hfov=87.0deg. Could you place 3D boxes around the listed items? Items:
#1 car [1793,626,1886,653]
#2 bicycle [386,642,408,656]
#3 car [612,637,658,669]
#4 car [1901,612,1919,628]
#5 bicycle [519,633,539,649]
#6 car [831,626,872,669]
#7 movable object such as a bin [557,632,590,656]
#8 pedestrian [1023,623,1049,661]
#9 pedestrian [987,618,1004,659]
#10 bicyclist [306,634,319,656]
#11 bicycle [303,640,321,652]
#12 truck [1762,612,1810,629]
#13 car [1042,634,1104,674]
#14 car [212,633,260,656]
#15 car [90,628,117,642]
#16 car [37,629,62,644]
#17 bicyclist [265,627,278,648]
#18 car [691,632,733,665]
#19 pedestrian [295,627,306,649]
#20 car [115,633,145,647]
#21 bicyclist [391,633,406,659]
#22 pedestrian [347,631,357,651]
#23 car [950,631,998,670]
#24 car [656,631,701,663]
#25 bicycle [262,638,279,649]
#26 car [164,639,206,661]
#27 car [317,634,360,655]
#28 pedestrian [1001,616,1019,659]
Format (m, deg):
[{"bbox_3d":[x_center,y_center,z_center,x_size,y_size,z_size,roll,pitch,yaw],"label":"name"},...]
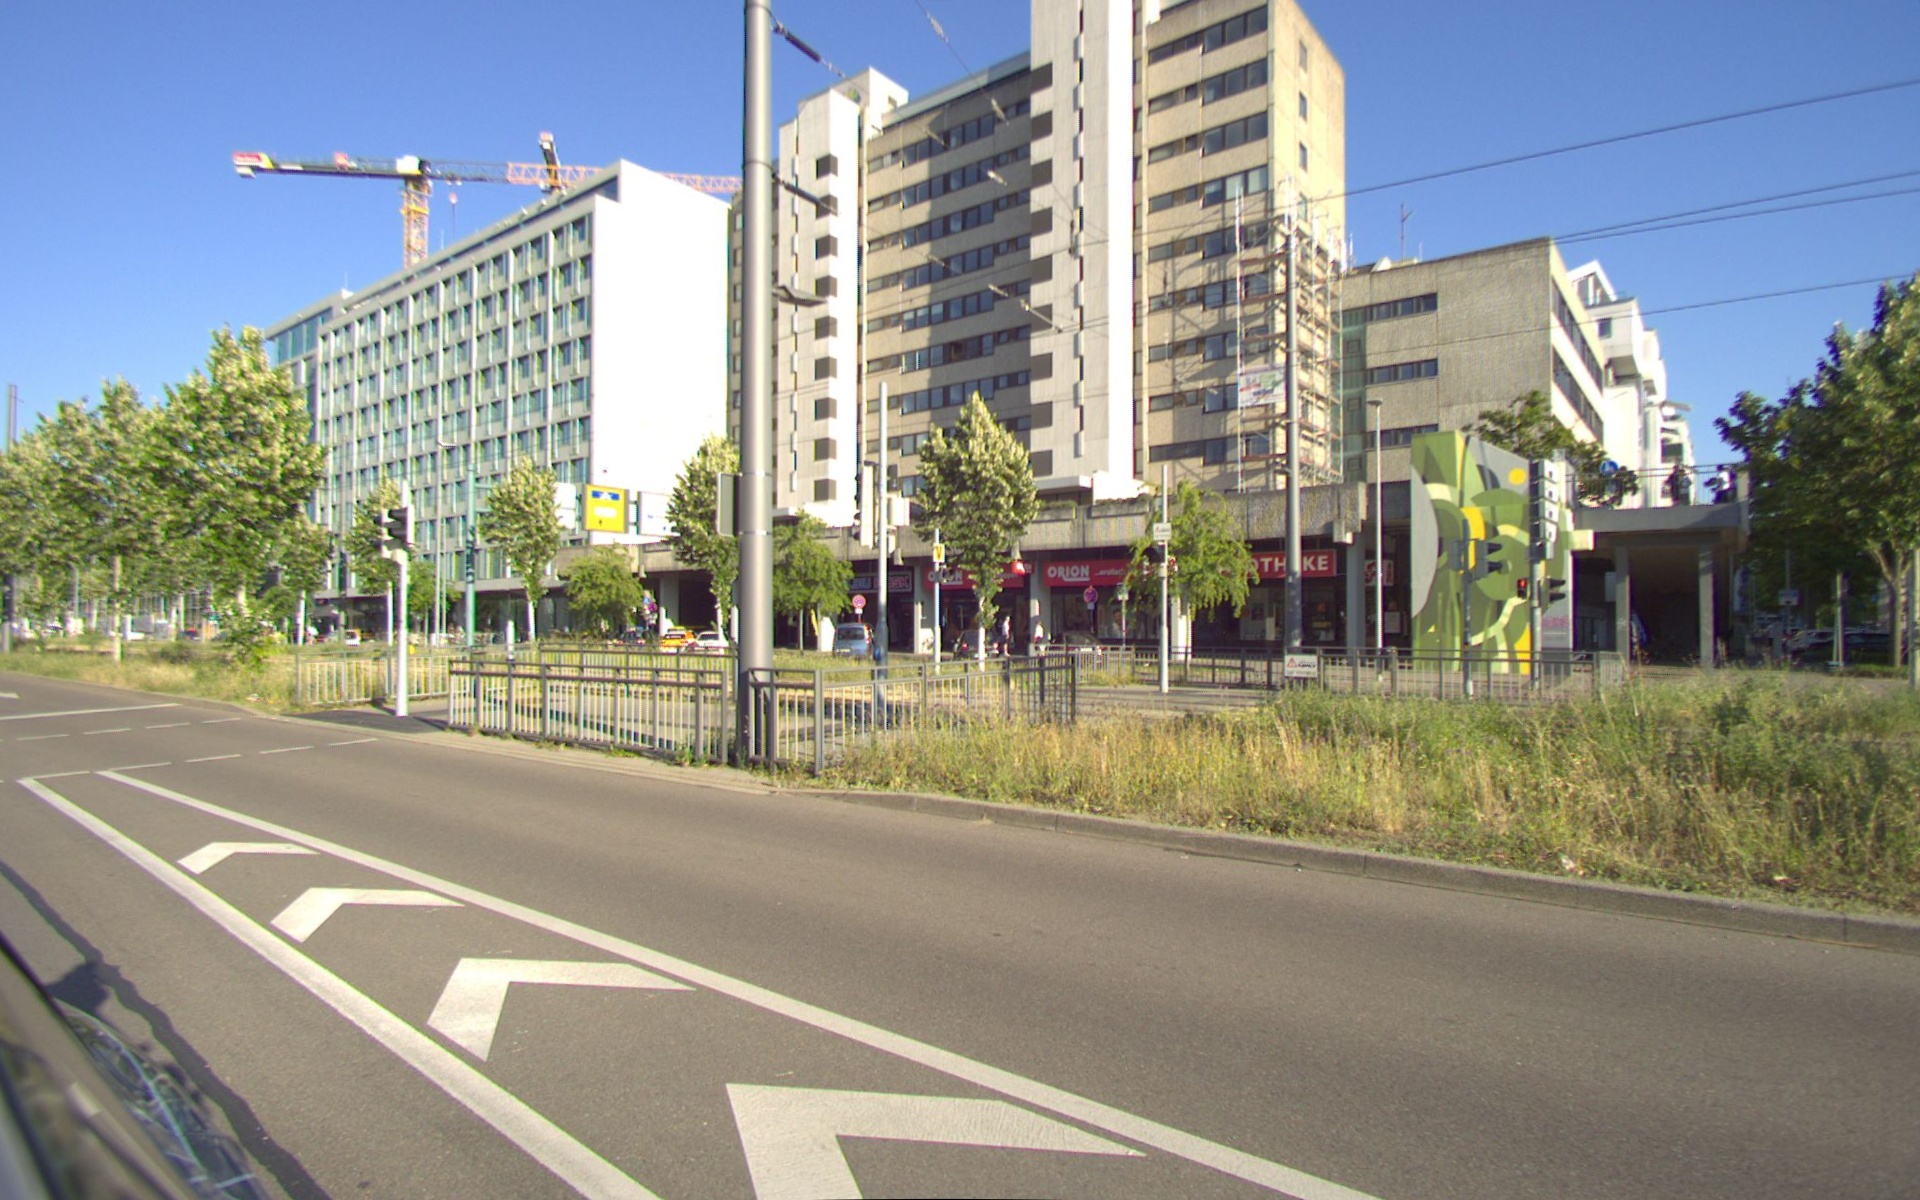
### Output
[{"bbox_3d":[51.231,2.295,59.053,3.996,1.524,1.974,-2,-2,39],"label":"car"},{"bbox_3d":[-37.980,3.293,68.270,2.099,0.869,0.432,-1,-2,37],"label":"bicycle"},{"bbox_3d":[-17.881,2.901,55.835,1.596,1.455,4.555,-1,0,-7],"label":"car"},{"bbox_3d":[99.170,2.107,104.976,1.819,1.618,3.837,-2,-2,38],"label":"car"},{"bbox_3d":[-32.343,3.081,76.001,1.712,1.239,0.390,-1,-2,29],"label":"bicycle"},{"bbox_3d":[-4.866,2.107,45.772,1.597,1.703,4.199,-1,0,-3],"label":"car"},{"bbox_3d":[-22.307,2.515,58.429,1.169,1.382,1.373,-2,-2,37],"label":"movable object such as a bin"},{"bbox_3d":[3.420,1.878,45.413,0.881,1.652,0.767,-1,-2,37],"label":"pedestrian"},{"bbox_3d":[1.741,1.882,49.744,0.653,2.029,0.542,-2,-2,38],"label":"pedestrian"},{"bbox_3d":[-50.018,3.451,78.123,0.917,1.669,0.533,-2,-2,36],"label":"bicyclist"},{"bbox_3d":[-50.018,3.549,78.107,2.099,0.869,0.432,-1,-2,37],"label":"bicycle"},{"bbox_3d":[106.909,2.672,130.999,4.607,2.185,1.800,-1,-2,35],"label":"truck"},{"bbox_3d":[4.157,1.980,37.665,1.596,1.283,3.471,-1,0,-6],"label":"car"},{"bbox_3d":[-56.939,3.487,79.555,4.633,1.600,1.852,-1,0,38],"label":"car"},{"bbox_3d":[-103.269,4.244,122.068,3.478,1.603,1.852,-1,0,38],"label":"car"},{"bbox_3d":[-119.879,4.807,133.222,3.788,1.765,1.852,-1,0,38],"label":"car"},{"bbox_3d":[-55.285,2.982,81.233,0.917,1.669,0.533,-1,-2,36],"label":"bicyclist"},{"bbox_3d":[-12.696,2.456,51.975,1.596,1.455,3.798,-1,0,-6],"label":"car"},{"bbox_3d":[-59.191,3.413,90.872,0.725,2.029,0.614,-2,-2,39],"label":"pedestrian"},{"bbox_3d":[-86.462,4.168,105.423,3.874,1.388,1.594,-1,0,38],"label":"car"},{"bbox_3d":[-37.837,3.106,68.160,0.917,1.758,0.552,-2,-2,36],"label":"bicyclist"},{"bbox_3d":[-51.197,3.445,85.221,0.596,1.648,0.473,-2,-2,39],"label":"pedestrian"},{"bbox_3d":[0.547,2.085,42.224,1.596,1.412,3.471,-1,0,-6],"label":"car"},{"bbox_3d":[-14.865,2.473,53.573,1.762,1.455,3.808,-1,0,-7],"label":"car"},{"bbox_3d":[-55.364,3.522,81.253,2.099,0.869,0.432,-1,-2,37],"label":"bicycle"},{"bbox_3d":[-67.601,4.324,88.254,4.482,1.715,1.852,-1,0,38],"label":"car"},{"bbox_3d":[-48.919,3.472,79.612,3.385,1.477,1.852,-1,0,38],"label":"car"},{"bbox_3d":[2.371,1.765,47.879,0.653,2.029,0.542,-2,-2,38],"label":"pedestrian"}]
